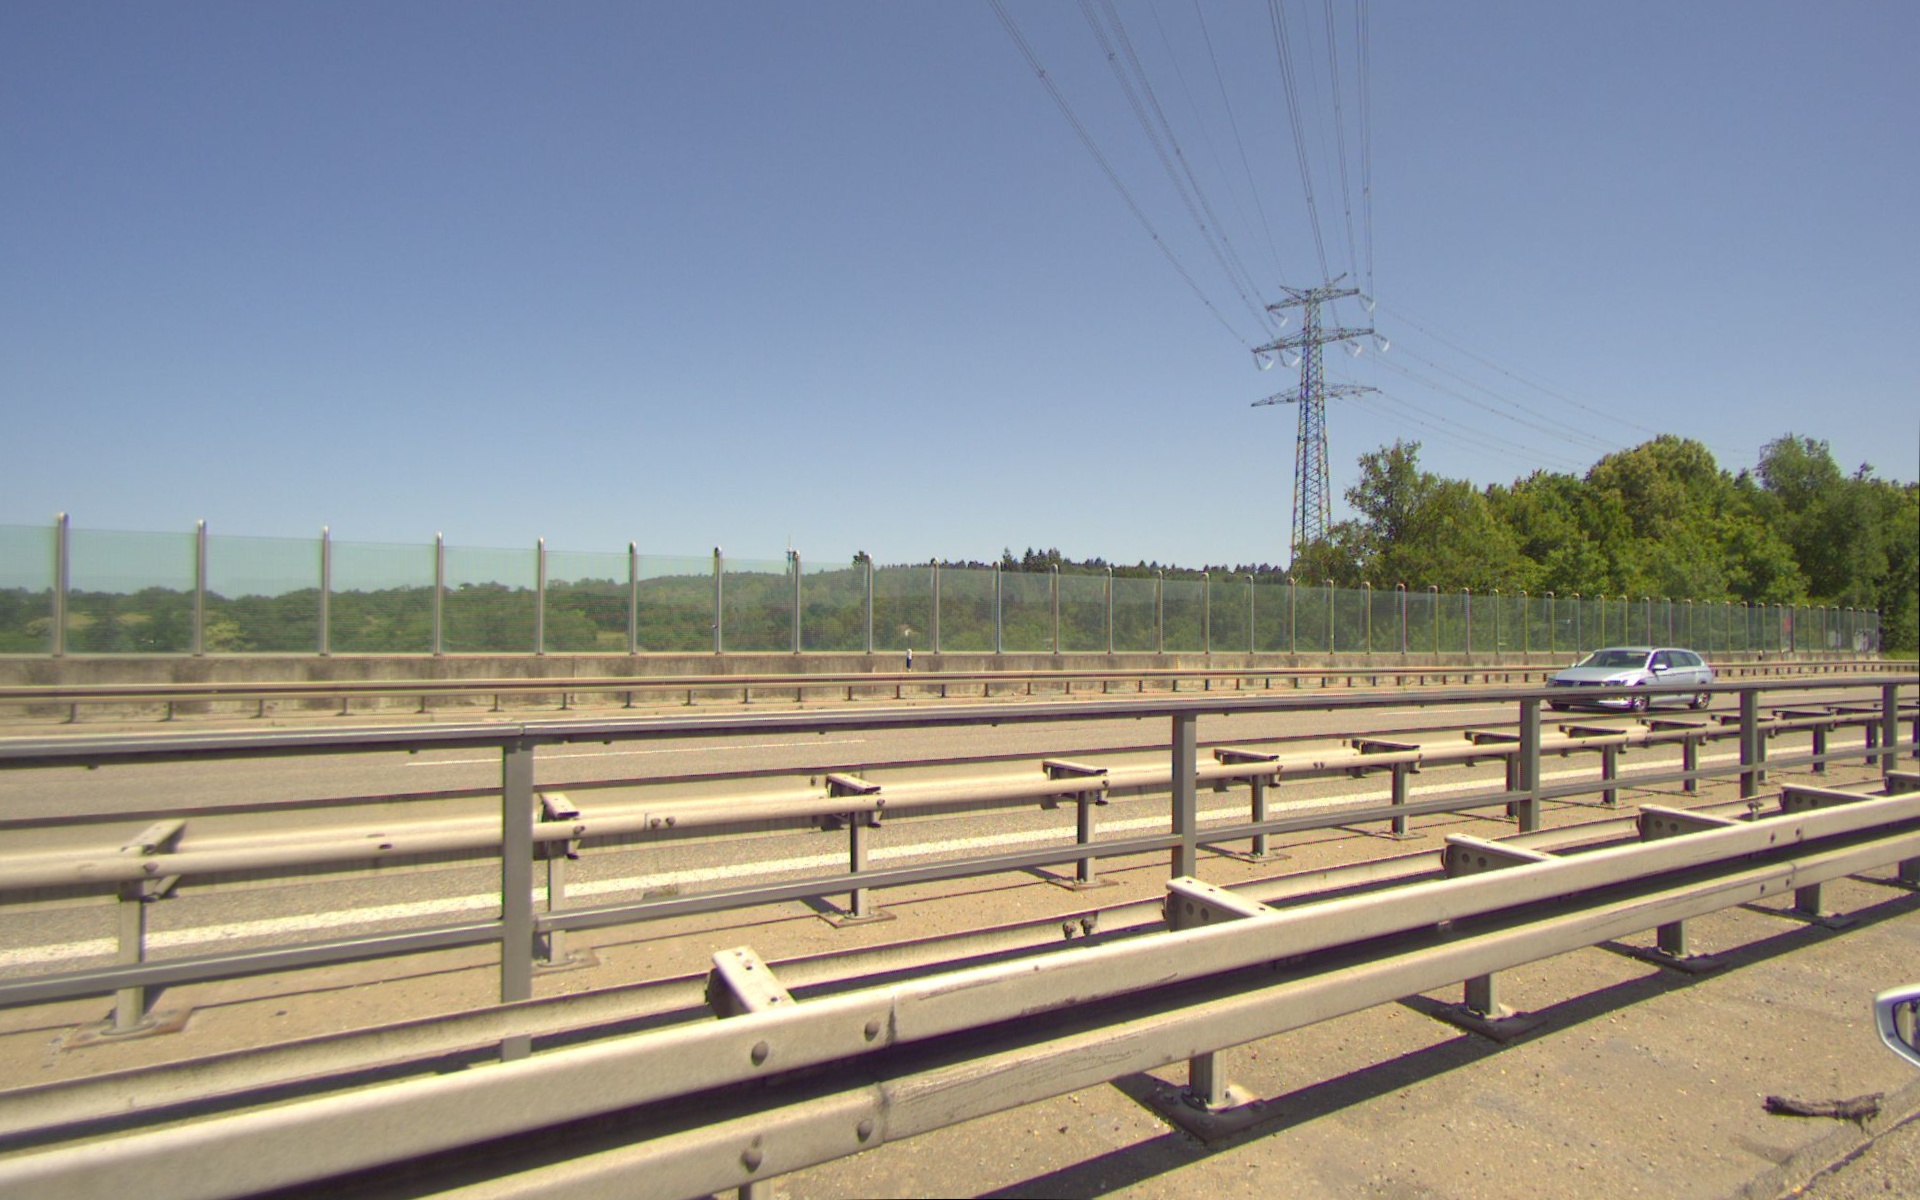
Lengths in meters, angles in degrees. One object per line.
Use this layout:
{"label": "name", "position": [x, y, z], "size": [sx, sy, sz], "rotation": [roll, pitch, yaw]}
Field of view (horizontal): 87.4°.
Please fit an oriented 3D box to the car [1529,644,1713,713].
{"label": "car", "position": [15.022, 1.750, 22.799], "size": [4.117, 1.412, 1.901], "rotation": [3, -3, -31]}
